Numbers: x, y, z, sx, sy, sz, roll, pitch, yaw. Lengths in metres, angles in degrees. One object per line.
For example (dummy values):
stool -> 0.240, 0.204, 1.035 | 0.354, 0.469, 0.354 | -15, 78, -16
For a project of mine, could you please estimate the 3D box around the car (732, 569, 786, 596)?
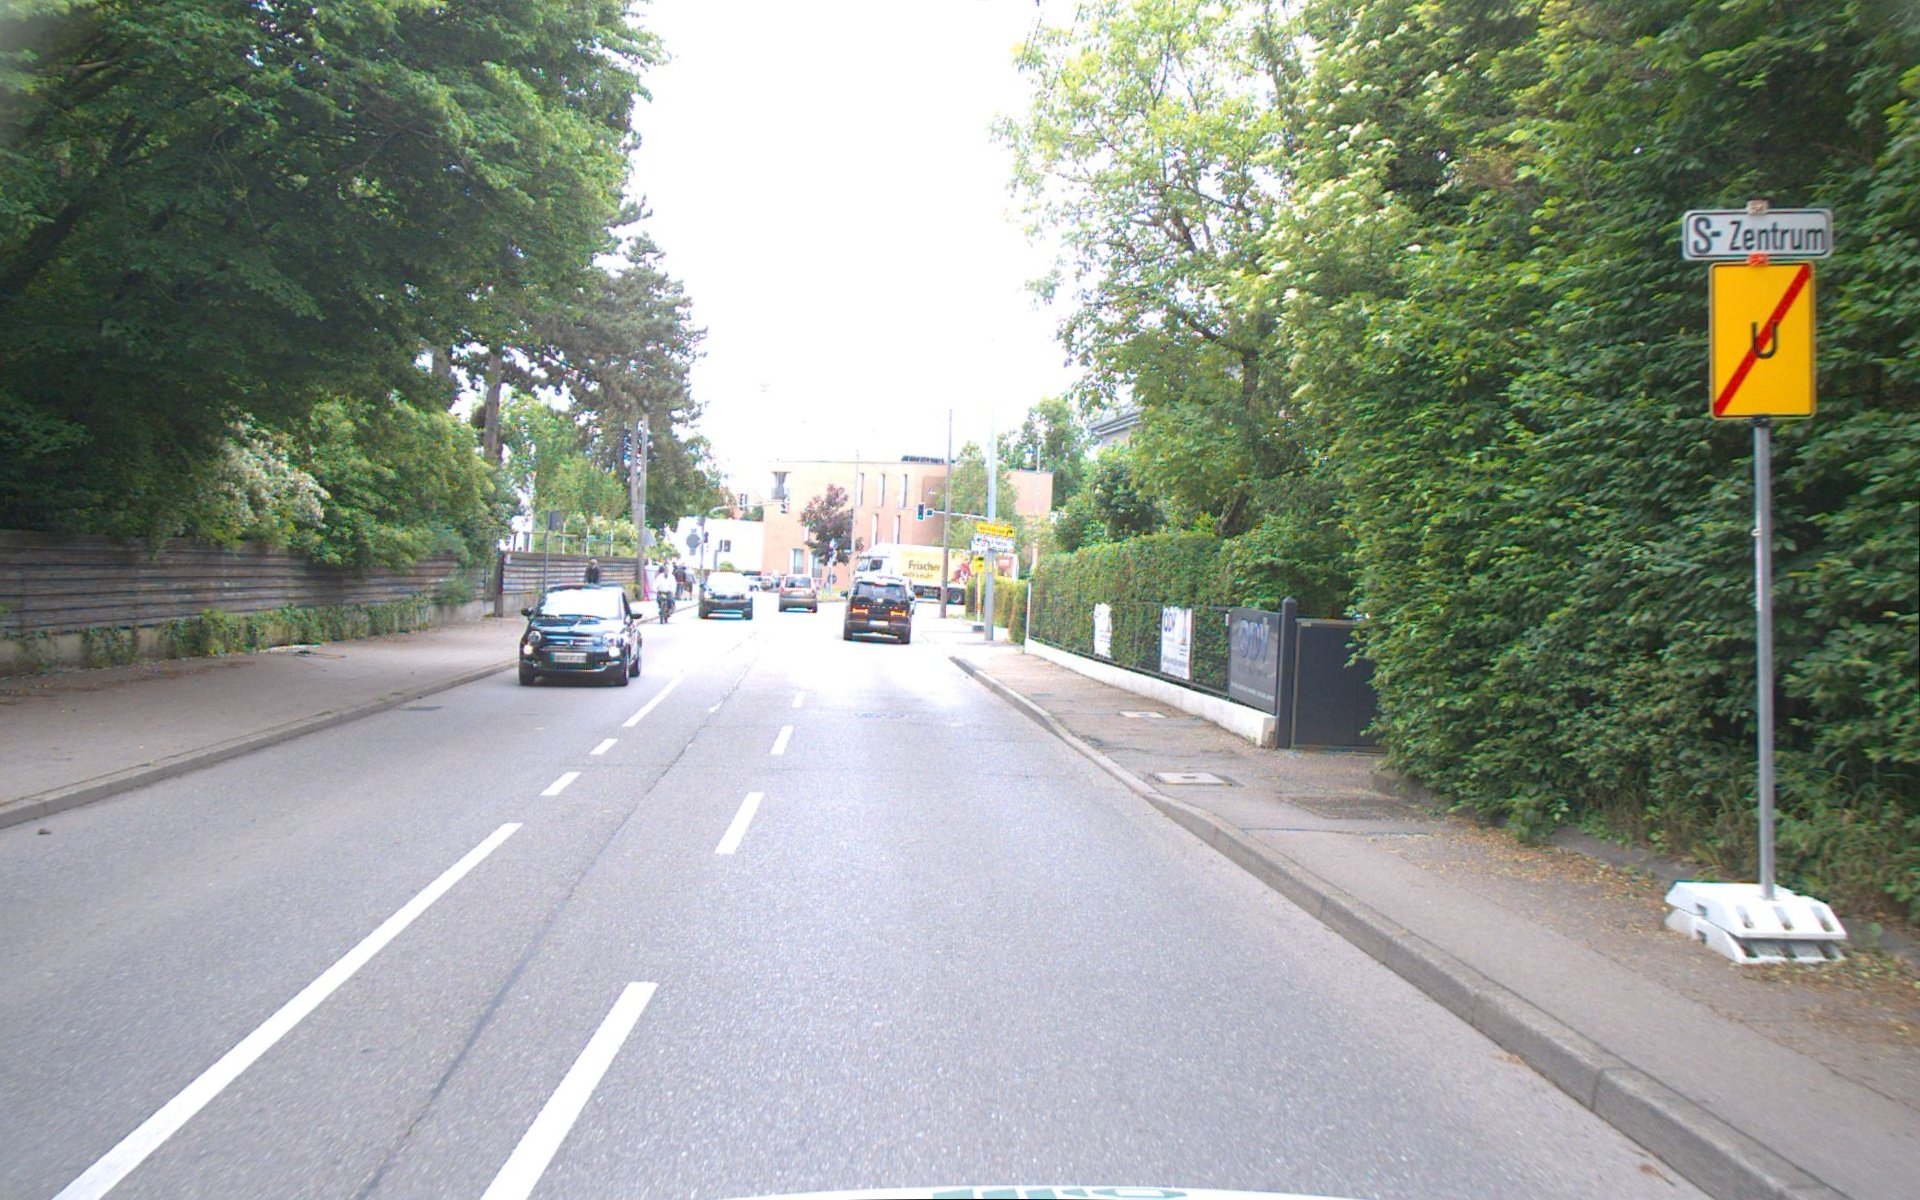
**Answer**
car -> -16.647, -1.453, 137.326 | 3.949, 2.048, 1.978 | 2, 1, -33

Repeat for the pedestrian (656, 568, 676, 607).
pedestrian -> -14.262, -0.604, 80.197 | 0.743, 1.869, 0.608 | 2, 1, -33

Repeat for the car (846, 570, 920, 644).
car -> -2.213, 0.194, 46.878 | 1.954, 1.914, 3.997 | 2, 0, -4

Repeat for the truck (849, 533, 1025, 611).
truck -> -1.559, -1.932, 114.029 | 11.586, 4.816, 3.117 | 2, 1, -21

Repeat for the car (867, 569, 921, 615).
car -> -3.297, -0.427, 83.534 | 1.921, 2.047, 4.432 | 5, 2, 6

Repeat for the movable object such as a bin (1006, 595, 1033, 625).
movable object such as a bin -> 2.307, 0.390, 64.449 | 0.710, 1.092, 0.672 | 4, -1, -41

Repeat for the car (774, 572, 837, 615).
car -> -6.745, -0.290, 72.591 | 1.853, 1.735, 4.003 | 3, 1, 7

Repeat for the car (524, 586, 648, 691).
car -> -5.759, 0.545, 25.791 | 1.688, 1.497, 3.523 | 0, 1, -10

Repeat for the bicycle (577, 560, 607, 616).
bicycle -> -11.518, -0.381, 51.800 | 0.551, 1.705, 1.979 | 3, 1, -5

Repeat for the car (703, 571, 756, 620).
car -> -8.376, -0.182, 59.831 | 1.798, 1.659, 4.274 | 1, 1, -9

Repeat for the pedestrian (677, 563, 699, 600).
pedestrian -> -13.303, -0.925, 80.876 | 0.683, 1.764, 0.748 | 3, 1, 40

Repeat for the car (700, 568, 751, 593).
car -> -20.448, -1.699, 144.343 | 3.948, 2.048, 1.979 | 1, 1, -32

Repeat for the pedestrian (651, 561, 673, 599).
pedestrian -> -14.424, -0.966, 80.032 | 0.805, 1.794, 0.860 | 2, 1, -27

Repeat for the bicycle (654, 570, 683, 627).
bicycle -> -9.411, -0.060, 53.449 | 0.744, 1.775, 1.869 | 1, 1, -5
